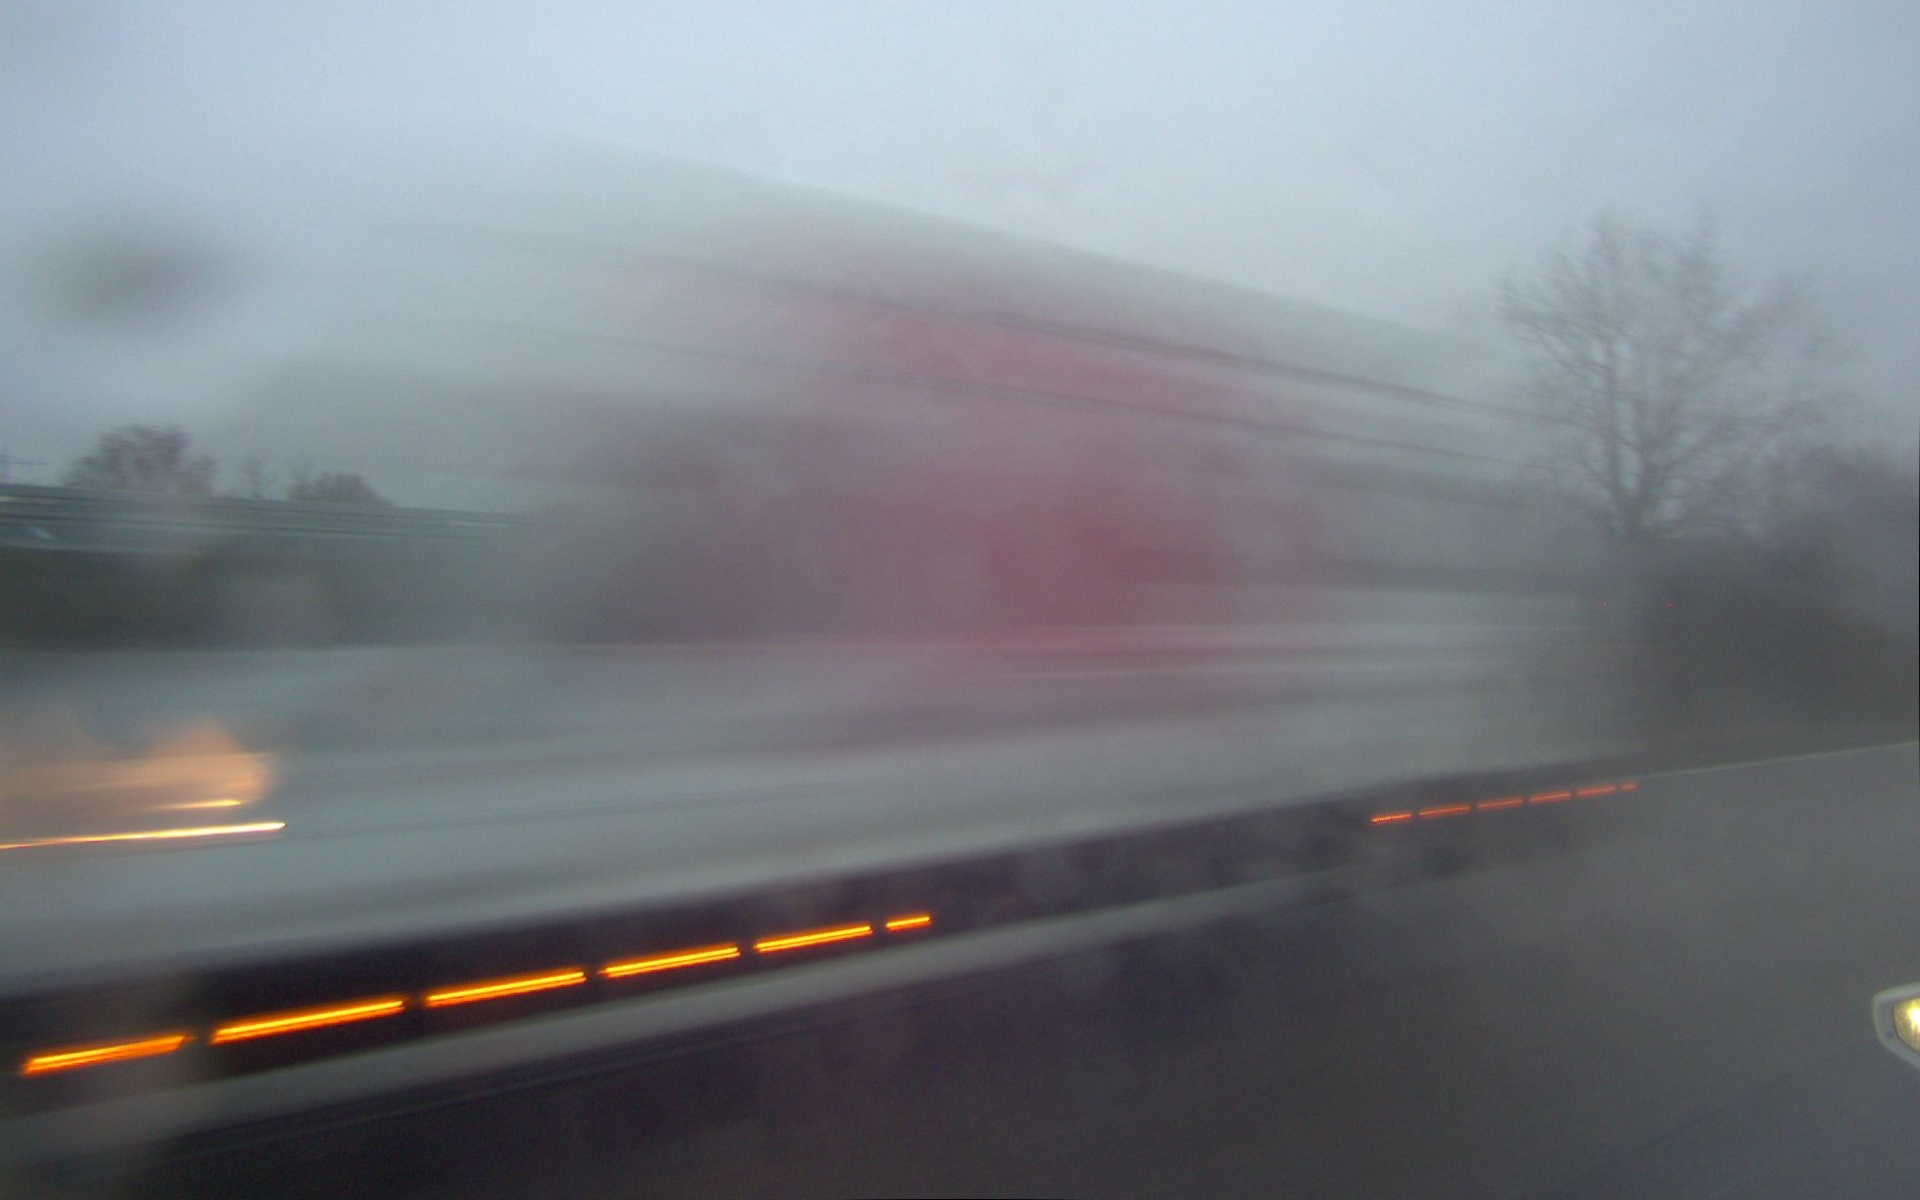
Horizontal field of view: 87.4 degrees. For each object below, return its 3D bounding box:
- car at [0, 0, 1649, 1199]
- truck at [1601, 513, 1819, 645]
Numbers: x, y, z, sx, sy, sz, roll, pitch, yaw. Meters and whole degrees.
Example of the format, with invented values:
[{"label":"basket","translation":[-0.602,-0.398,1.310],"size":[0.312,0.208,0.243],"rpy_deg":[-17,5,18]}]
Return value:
[{"label":"car","translation":[0.107,0.142,4.053],"size":[6.198,2.710,1.943],"rpy_deg":[1,0,-30]},{"label":"truck","translation":[41.071,-0.871,54.678],"size":[15.557,6.372,3.745],"rpy_deg":[2,0,-31]}]
